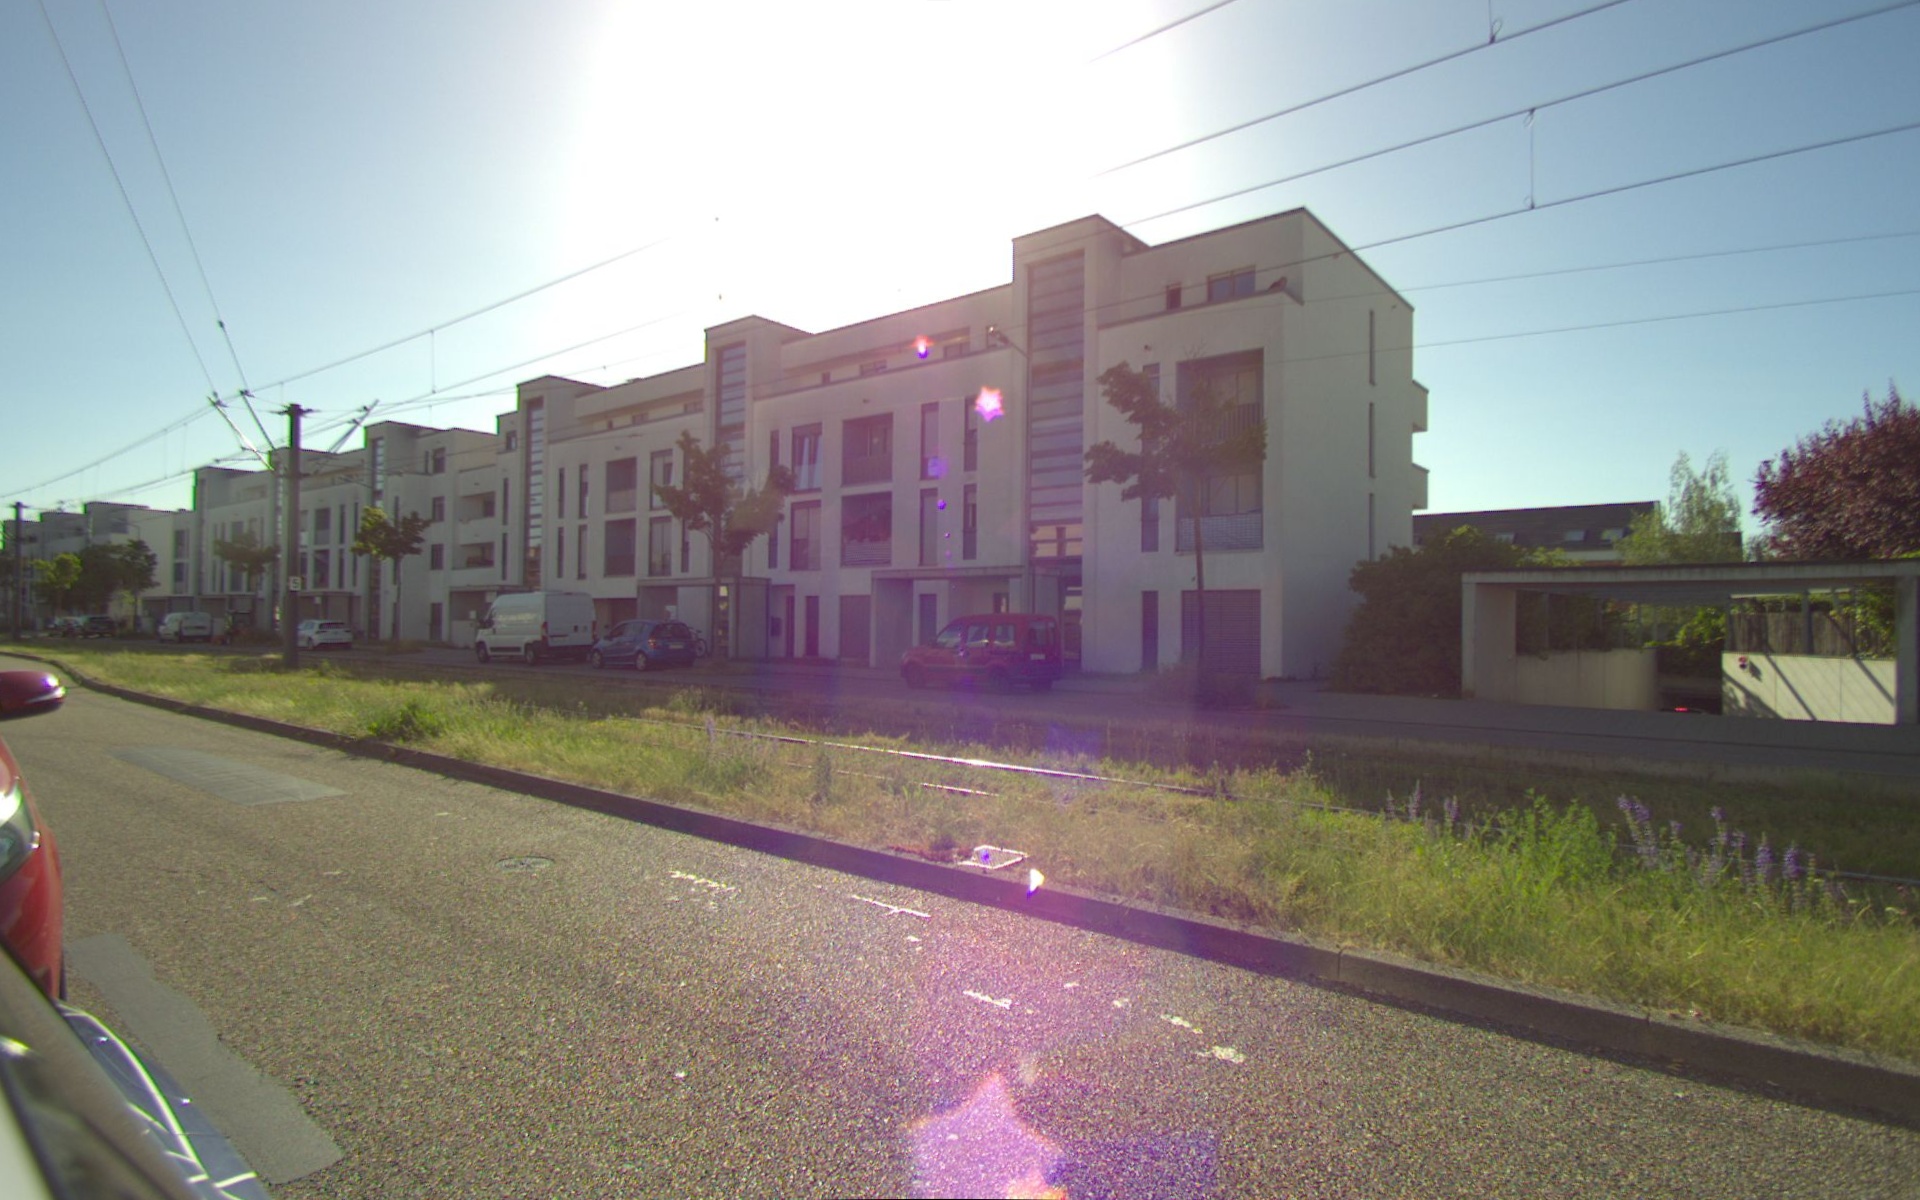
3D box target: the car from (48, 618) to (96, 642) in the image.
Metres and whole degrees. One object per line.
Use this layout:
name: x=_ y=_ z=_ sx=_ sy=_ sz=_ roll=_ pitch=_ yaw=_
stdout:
car: x=-67.506 y=2.253 z=76.913 sx=4.277 sy=1.693 sz=1.900 roll=-1 pitch=0 yaw=37

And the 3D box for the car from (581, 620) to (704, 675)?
car: x=-9.983 y=1.445 z=31.725 sx=3.833 sy=1.556 sz=1.973 roll=-1 pitch=0 yaw=40

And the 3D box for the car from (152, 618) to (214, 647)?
car: x=-47.339 y=1.959 z=61.609 sx=4.277 sy=1.693 sz=1.900 roll=-1 pitch=0 yaw=37

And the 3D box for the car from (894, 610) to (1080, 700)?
car: x=0.555 y=1.166 z=23.004 sx=3.895 sy=1.842 sz=1.972 roll=-1 pitch=0 yaw=43

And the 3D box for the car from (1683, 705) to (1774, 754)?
car: x=23.926 y=4.051 z=31.448 sx=3.939 sy=1.337 sz=1.578 roll=8 pitch=-7 yaw=-42

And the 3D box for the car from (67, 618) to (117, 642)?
car: x=-62.961 y=2.162 z=73.389 sx=4.277 sy=1.693 sz=1.900 roll=-1 pitch=0 yaw=37

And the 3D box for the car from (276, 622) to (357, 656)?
car: x=-31.119 y=1.836 z=48.884 sx=4.277 sy=1.517 sz=1.900 roll=-1 pitch=0 yaw=37

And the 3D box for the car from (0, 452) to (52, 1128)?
car: x=-4.882 y=0.553 z=3.663 sx=4.505 sy=1.868 sz=1.850 roll=-1 pitch=0 yaw=41

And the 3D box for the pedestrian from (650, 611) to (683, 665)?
pedestrian: x=-10.096 y=1.297 z=34.802 sx=0.785 sy=1.836 sz=0.766 roll=-1 pitch=0 yaw=41

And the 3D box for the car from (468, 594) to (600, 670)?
car: x=-15.178 y=1.072 z=35.930 sx=5.193 sy=2.491 sz=2.197 roll=-1 pitch=0 yaw=40
